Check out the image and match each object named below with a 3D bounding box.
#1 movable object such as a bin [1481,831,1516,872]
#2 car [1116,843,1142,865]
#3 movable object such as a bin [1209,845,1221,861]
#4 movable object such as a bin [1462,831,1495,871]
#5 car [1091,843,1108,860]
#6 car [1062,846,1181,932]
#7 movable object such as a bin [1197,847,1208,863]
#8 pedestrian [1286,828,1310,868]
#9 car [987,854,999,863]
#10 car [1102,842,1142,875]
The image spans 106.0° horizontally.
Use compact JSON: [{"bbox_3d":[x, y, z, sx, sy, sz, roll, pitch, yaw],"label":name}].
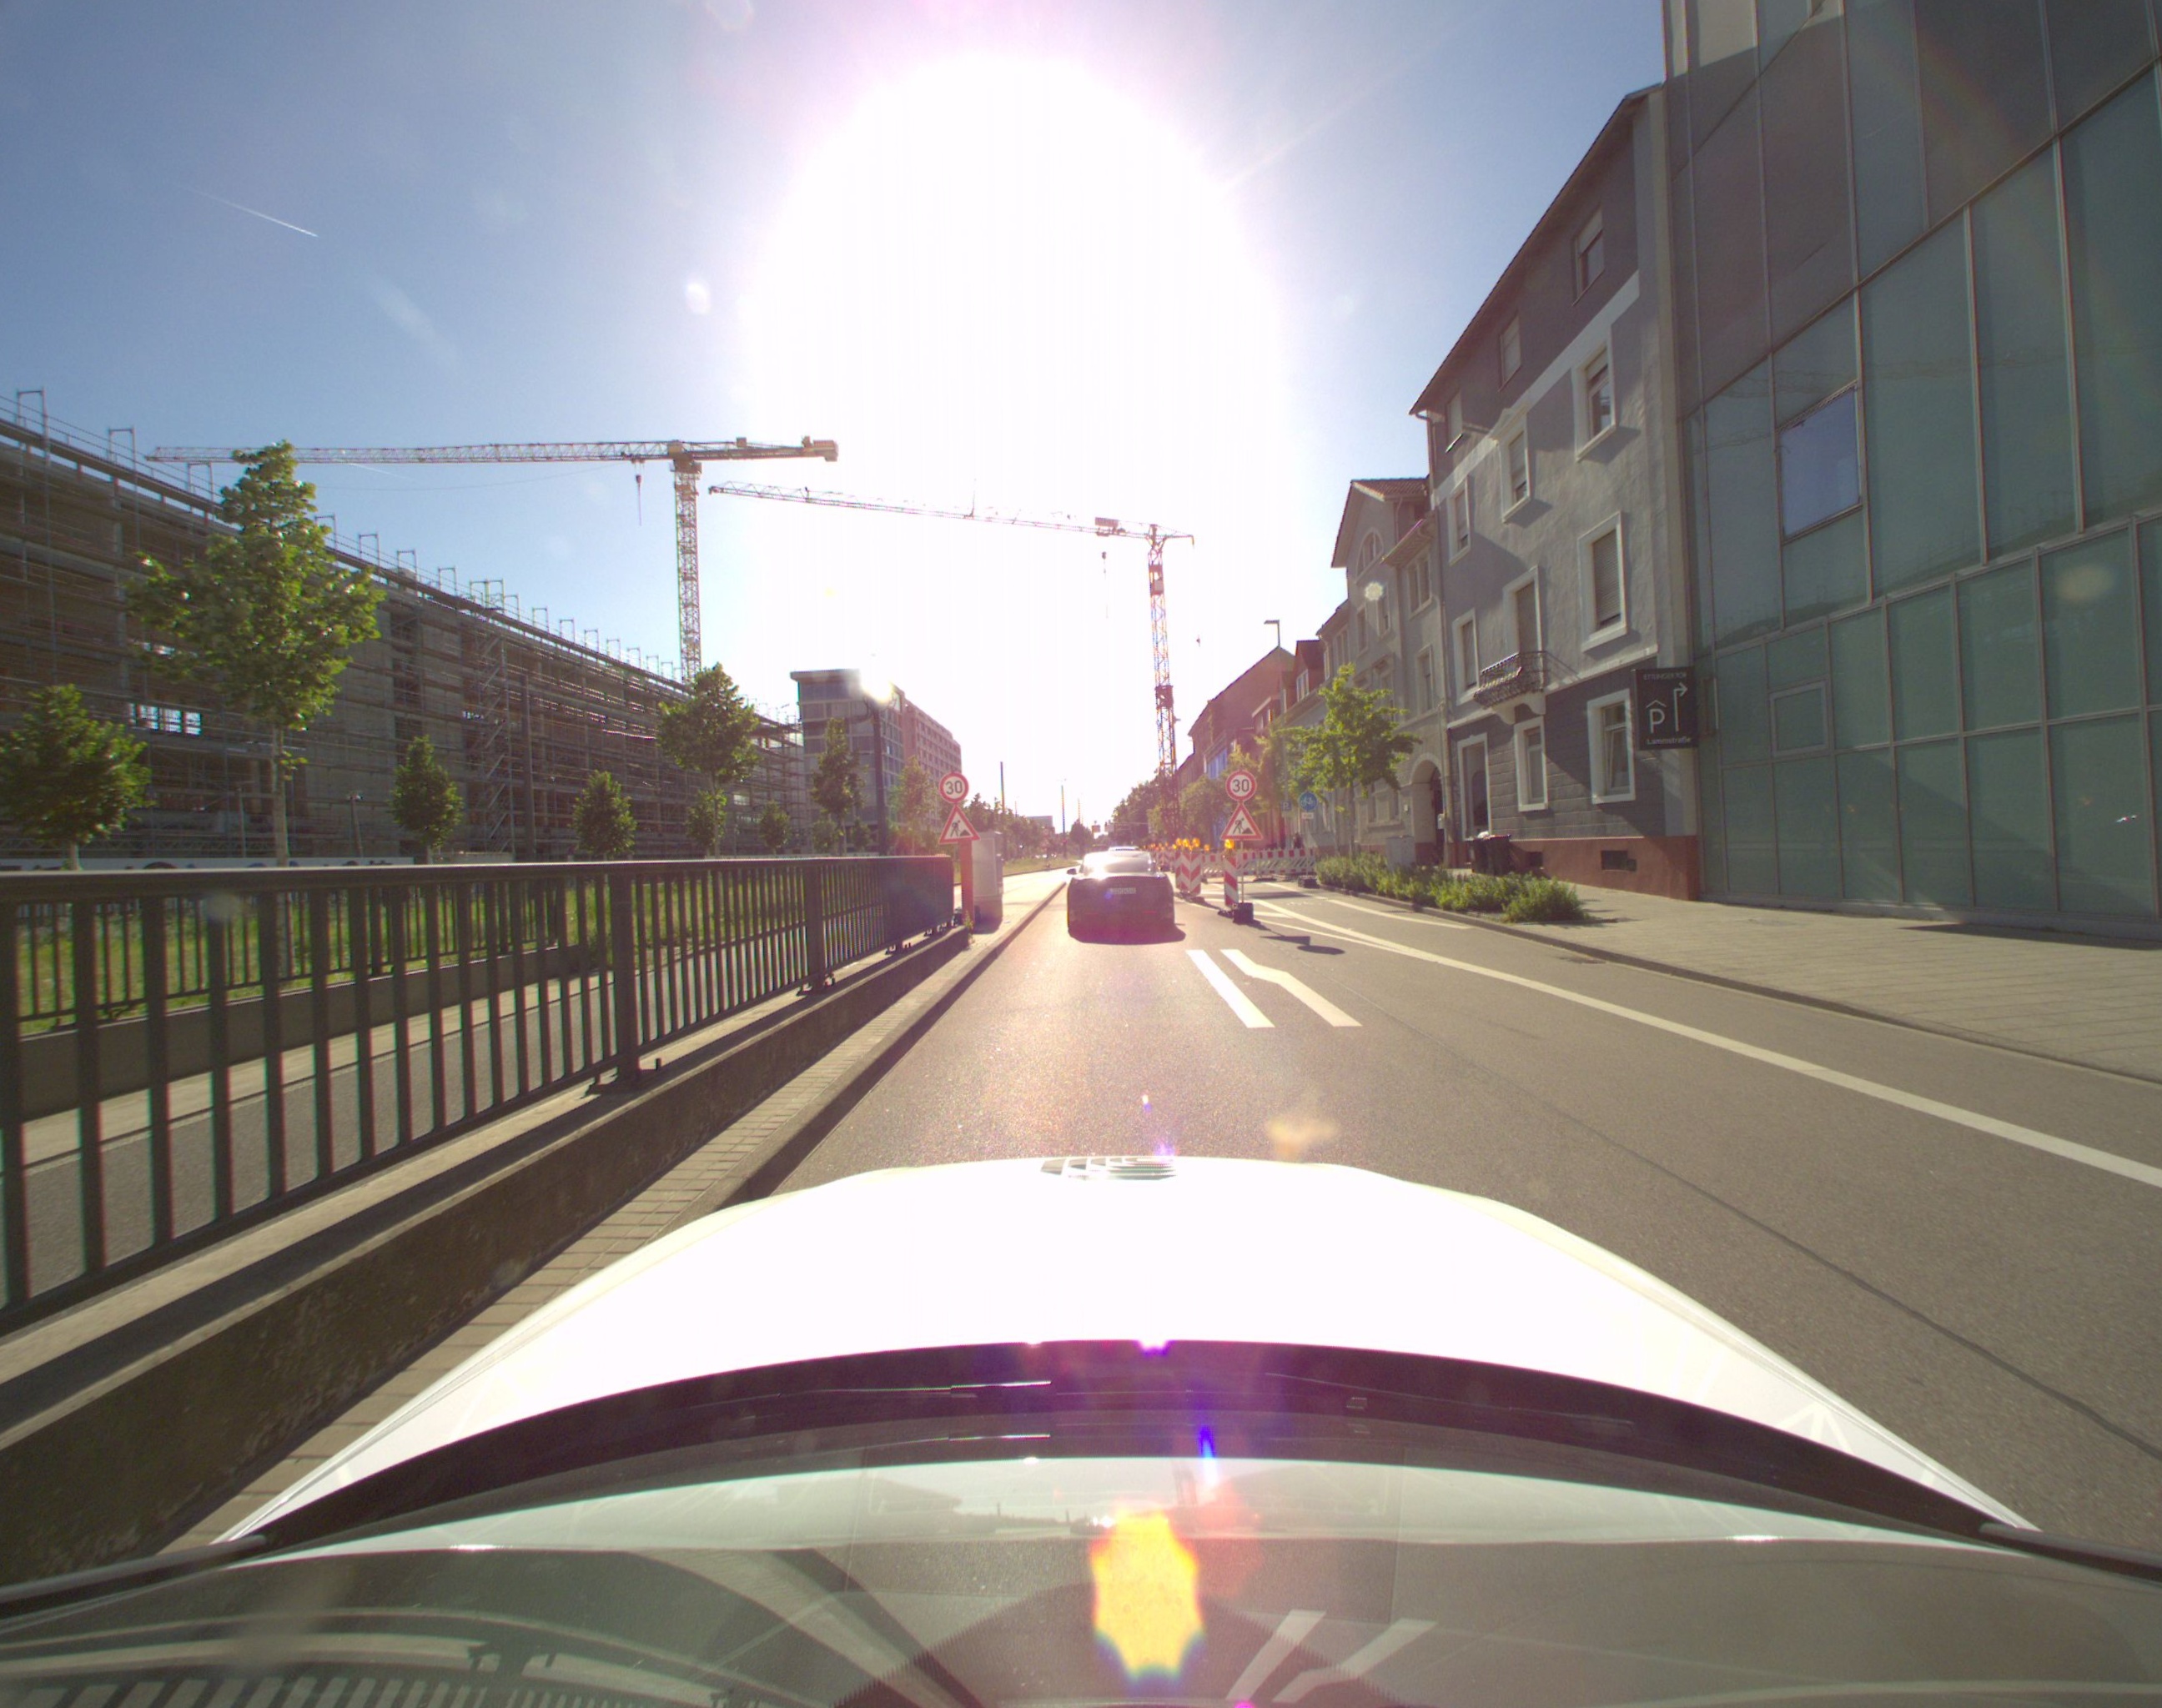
[{"bbox_3d":[11.438,-0.073,22.340,0.600,1.082,0.704,-2,0,3],"label":"movable object such as a bin"},{"bbox_3d":[3.455,-0.008,59.059,1.742,1.527,4.007,-2,0,3],"label":"car"},{"bbox_3d":[9.377,-0.053,56.974,0.586,1.057,0.783,-7,0,-2],"label":"movable object such as a bin"},{"bbox_3d":[11.308,-0.093,23.161,0.586,1.108,0.704,-2,0,3],"label":"movable object such as a bin"},{"bbox_3d":[2.534,-0.340,110.378,2.210,2.267,4.485,-1,0,1],"label":"car"},{"bbox_3d":[0.771,0.596,16.417,2.043,1.444,4.526,-1,0,2],"label":"car"},{"bbox_3d":[8.491,0.056,57.078,0.593,1.057,0.731,-6,0,2],"label":"movable object such as a bin"},{"bbox_3d":[10.654,-0.301,39.927,0.795,1.928,0.766,-2,0,-16],"label":"pedestrian"},{"bbox_3d":[-17.594,0.841,163.289,1.783,1.651,4.003,-3,0,2],"label":"car"},{"bbox_3d":[1.893,0.186,38.695,1.741,1.427,4.840,-2,0,2],"label":"car"}]
